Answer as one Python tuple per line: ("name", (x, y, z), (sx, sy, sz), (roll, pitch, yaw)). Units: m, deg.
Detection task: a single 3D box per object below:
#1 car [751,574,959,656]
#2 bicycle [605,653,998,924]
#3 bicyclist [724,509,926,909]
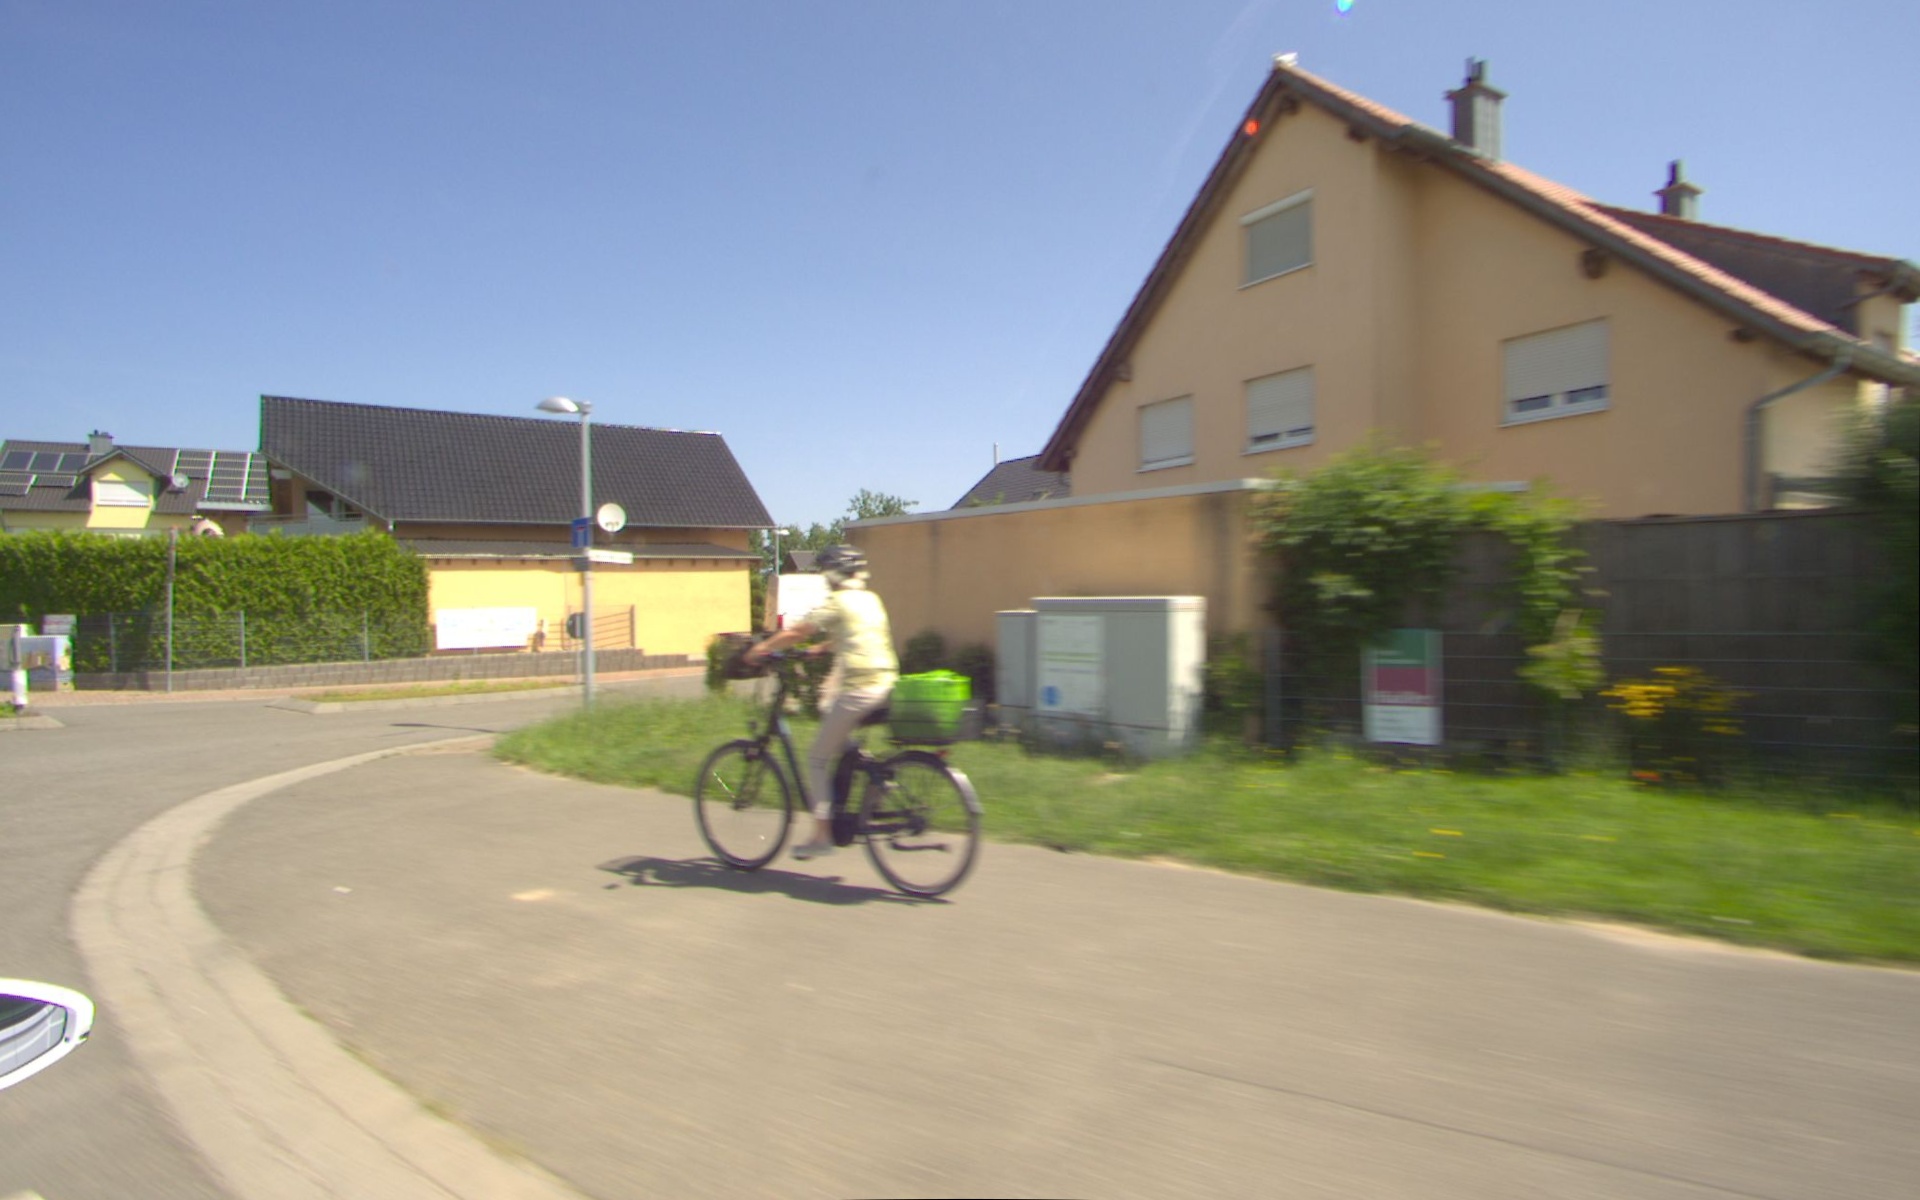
("car", (-3.608, 0.445, 34.734), (6.762, 2.664, 2.450), (0, 2, -25))
("bicycle", (-0.919, 0.901, 5.402), (2.241, 1.174, 0.609), (-1, 1, 32))
("bicyclist", (-0.707, 0.523, 5.279), (0.848, 1.915, 0.643), (1, 1, 32))
